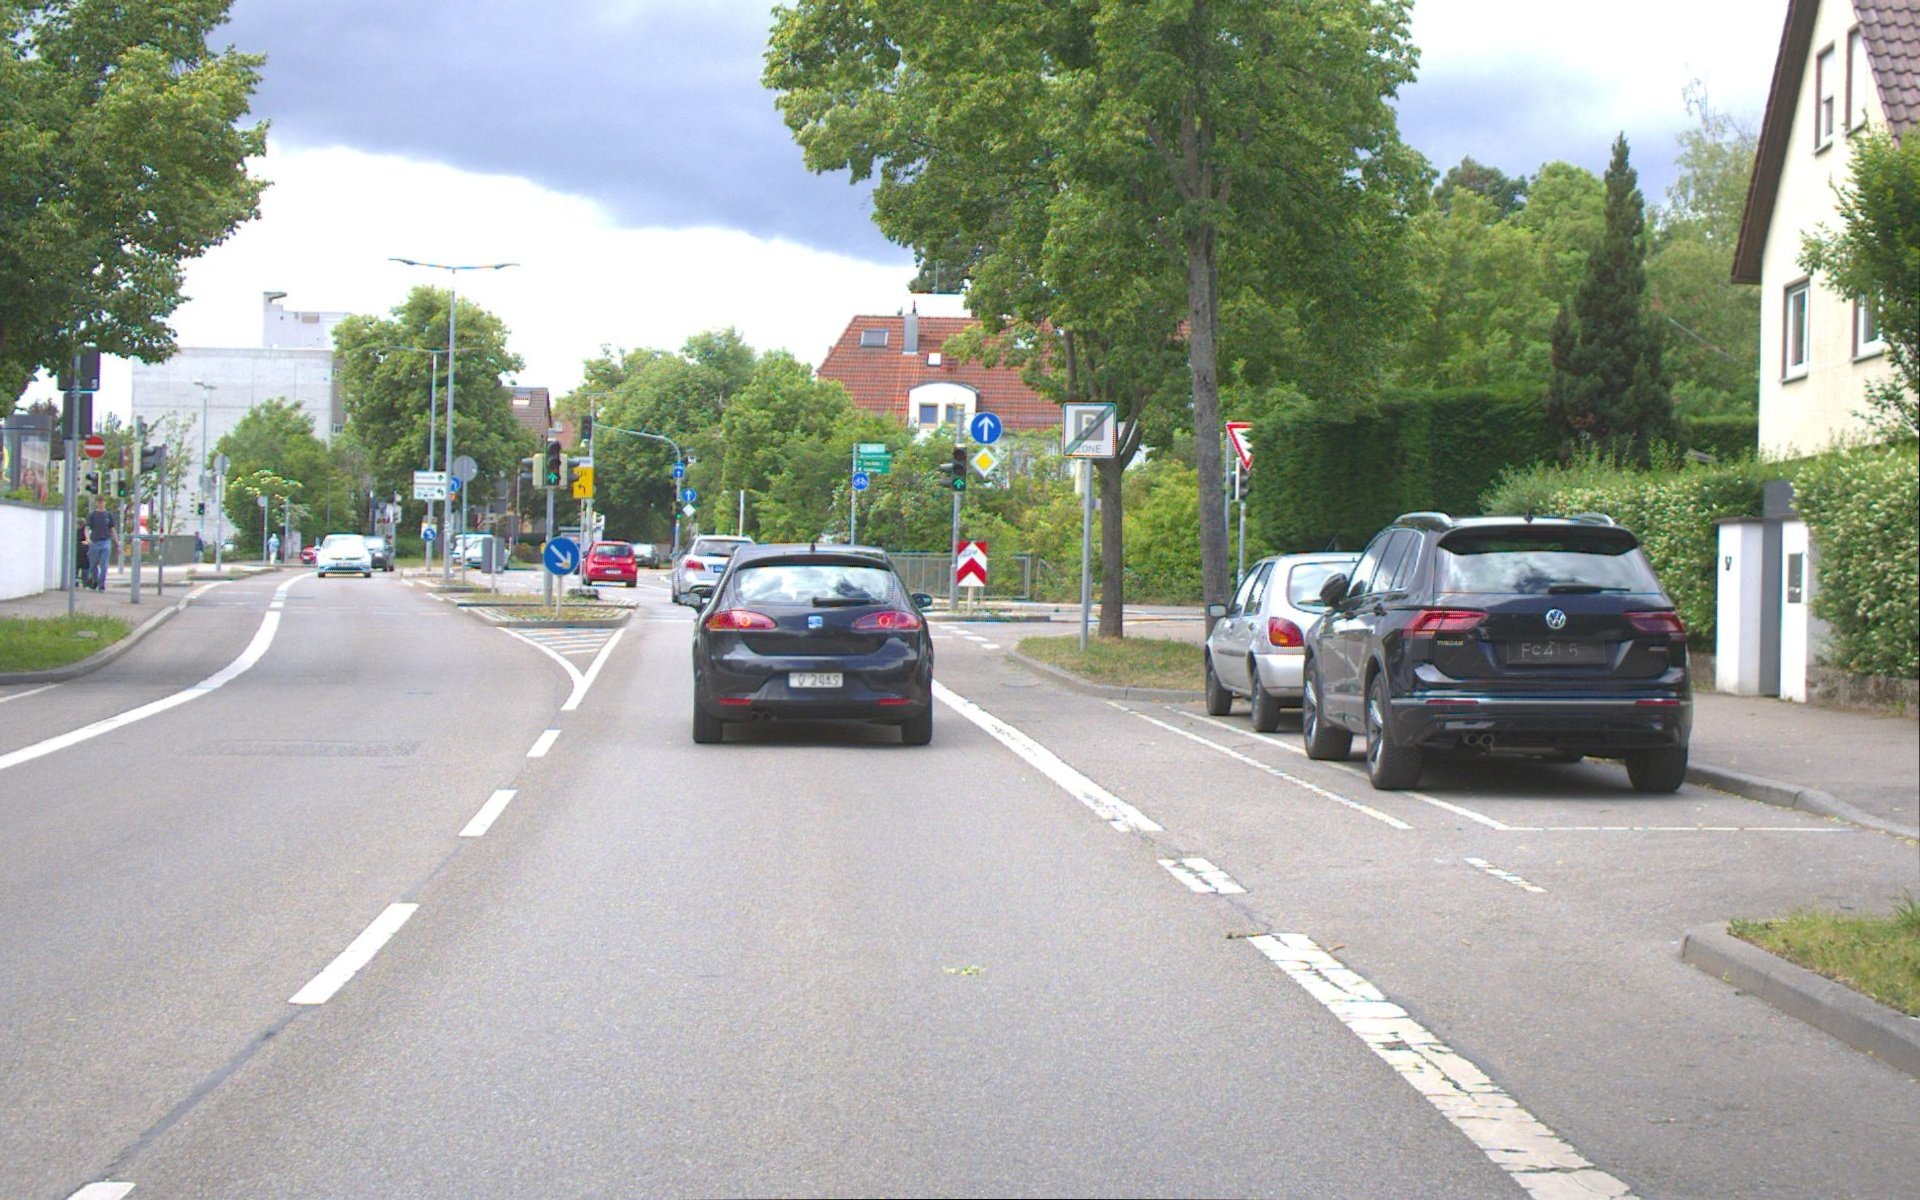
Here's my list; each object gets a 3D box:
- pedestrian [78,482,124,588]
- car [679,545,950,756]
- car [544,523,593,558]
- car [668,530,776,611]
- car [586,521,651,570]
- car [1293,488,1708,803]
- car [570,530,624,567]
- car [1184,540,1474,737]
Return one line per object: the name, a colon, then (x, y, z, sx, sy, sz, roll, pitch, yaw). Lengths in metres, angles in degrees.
pedestrian: (-16.866, -1.279, 67.499, 0.752, 2.047, 0.725, 1, 0, -7)
car: (-1.149, 0.324, 25.604, 1.783, 1.444, 3.559, 1, 1, -6)
car: (-19.028, -2.885, 167.159, 1.973, 1.670, 3.877, 1, 1, -1)
car: (-5.028, -0.637, 72.280, 1.993, 1.552, 4.001, -3, 1, -7)
car: (-11.107, -1.771, 111.688, 1.993, 1.525, 4.001, 1, 1, -7)
car: (3.255, 0.232, 21.448, 1.788, 1.765, 3.983, 1, 1, -2)
car: (-15.367, -2.175, 145.757, 1.993, 1.503, 4.000, 1, 0, -2)
car: (2.865, 0.264, 27.352, 1.685, 1.444, 3.580, 1, 1, -4)
